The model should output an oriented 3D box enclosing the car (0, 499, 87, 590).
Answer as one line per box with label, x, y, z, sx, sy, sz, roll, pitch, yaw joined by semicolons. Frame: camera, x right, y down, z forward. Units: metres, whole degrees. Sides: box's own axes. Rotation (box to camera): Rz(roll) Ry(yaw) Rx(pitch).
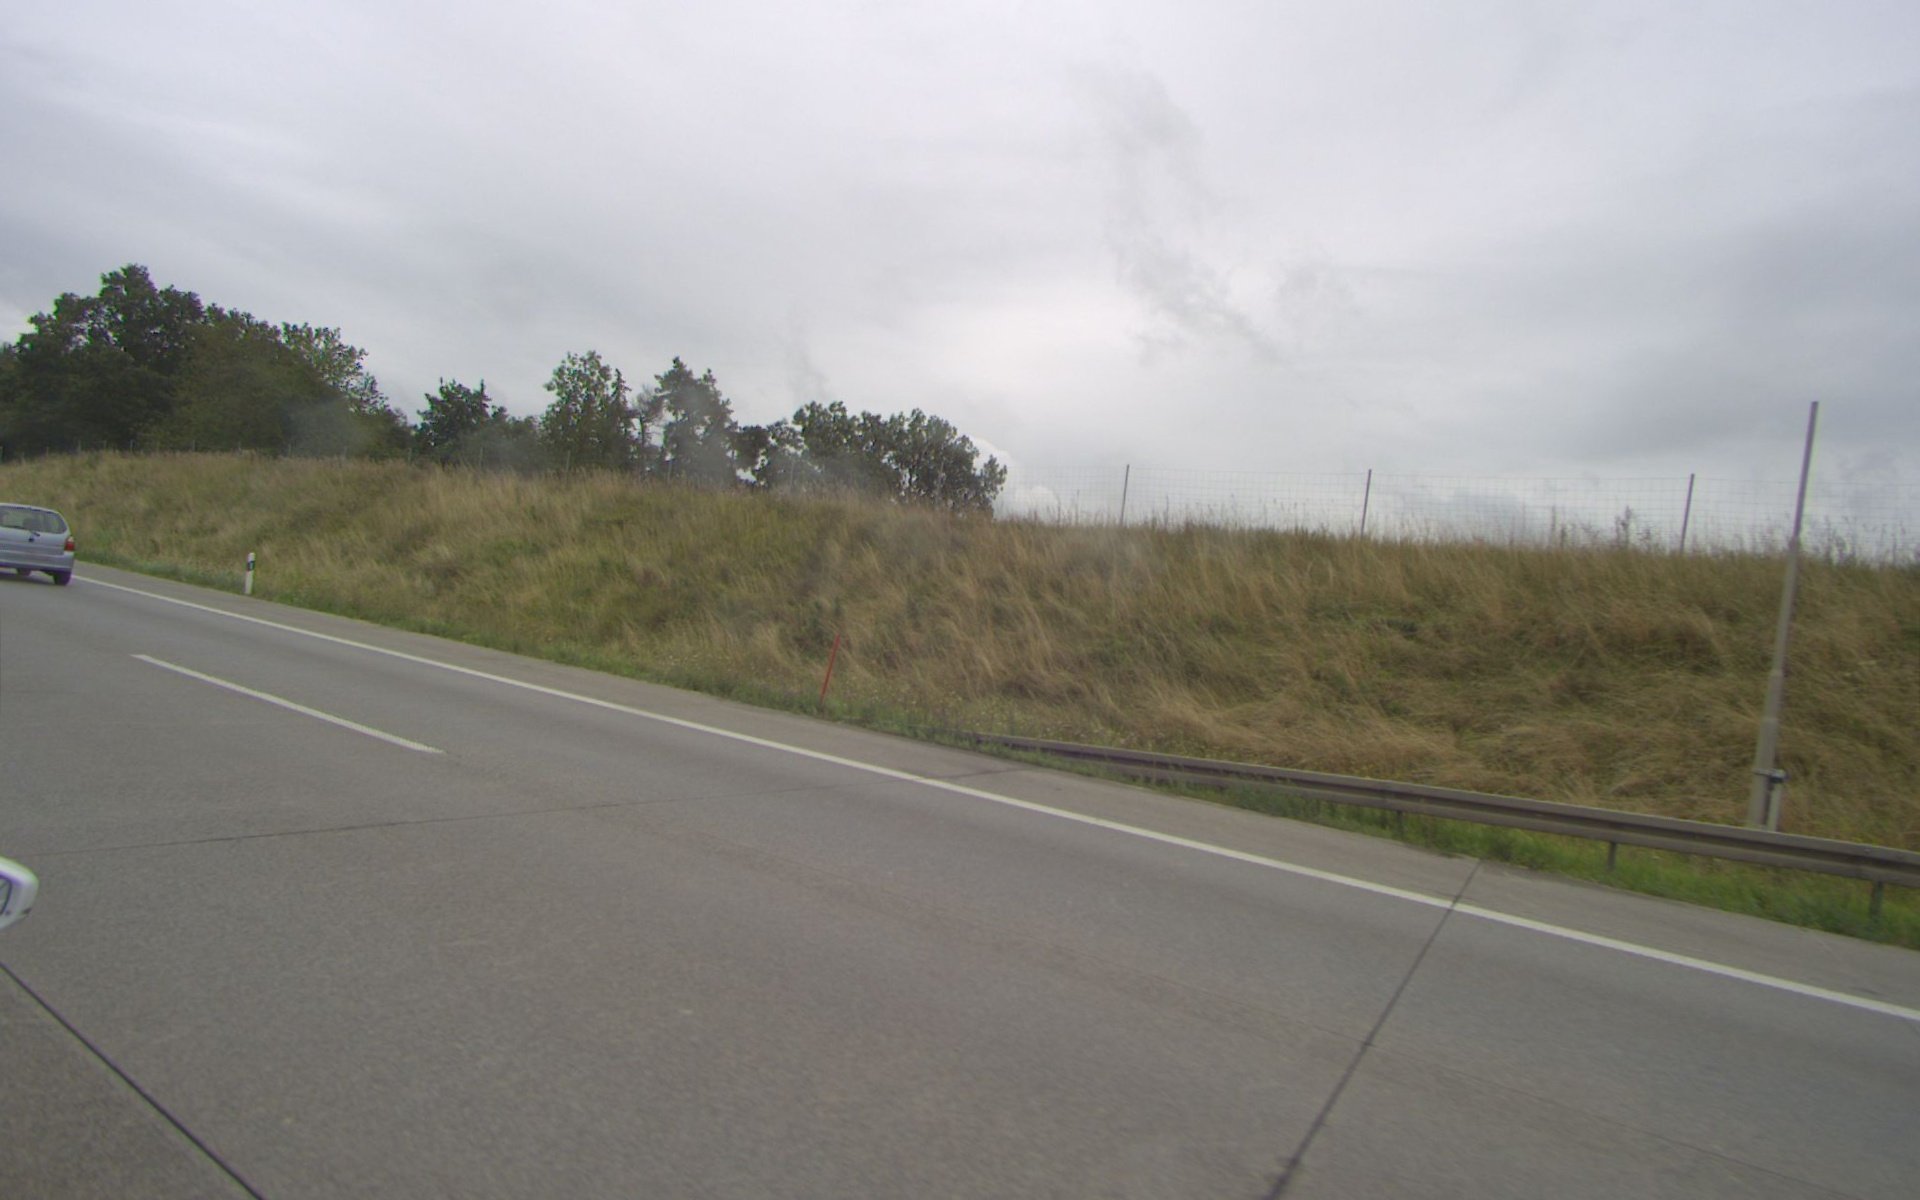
car;-18.897;-1.210;19.820;3.446;1.488;1.488;8;0;31
